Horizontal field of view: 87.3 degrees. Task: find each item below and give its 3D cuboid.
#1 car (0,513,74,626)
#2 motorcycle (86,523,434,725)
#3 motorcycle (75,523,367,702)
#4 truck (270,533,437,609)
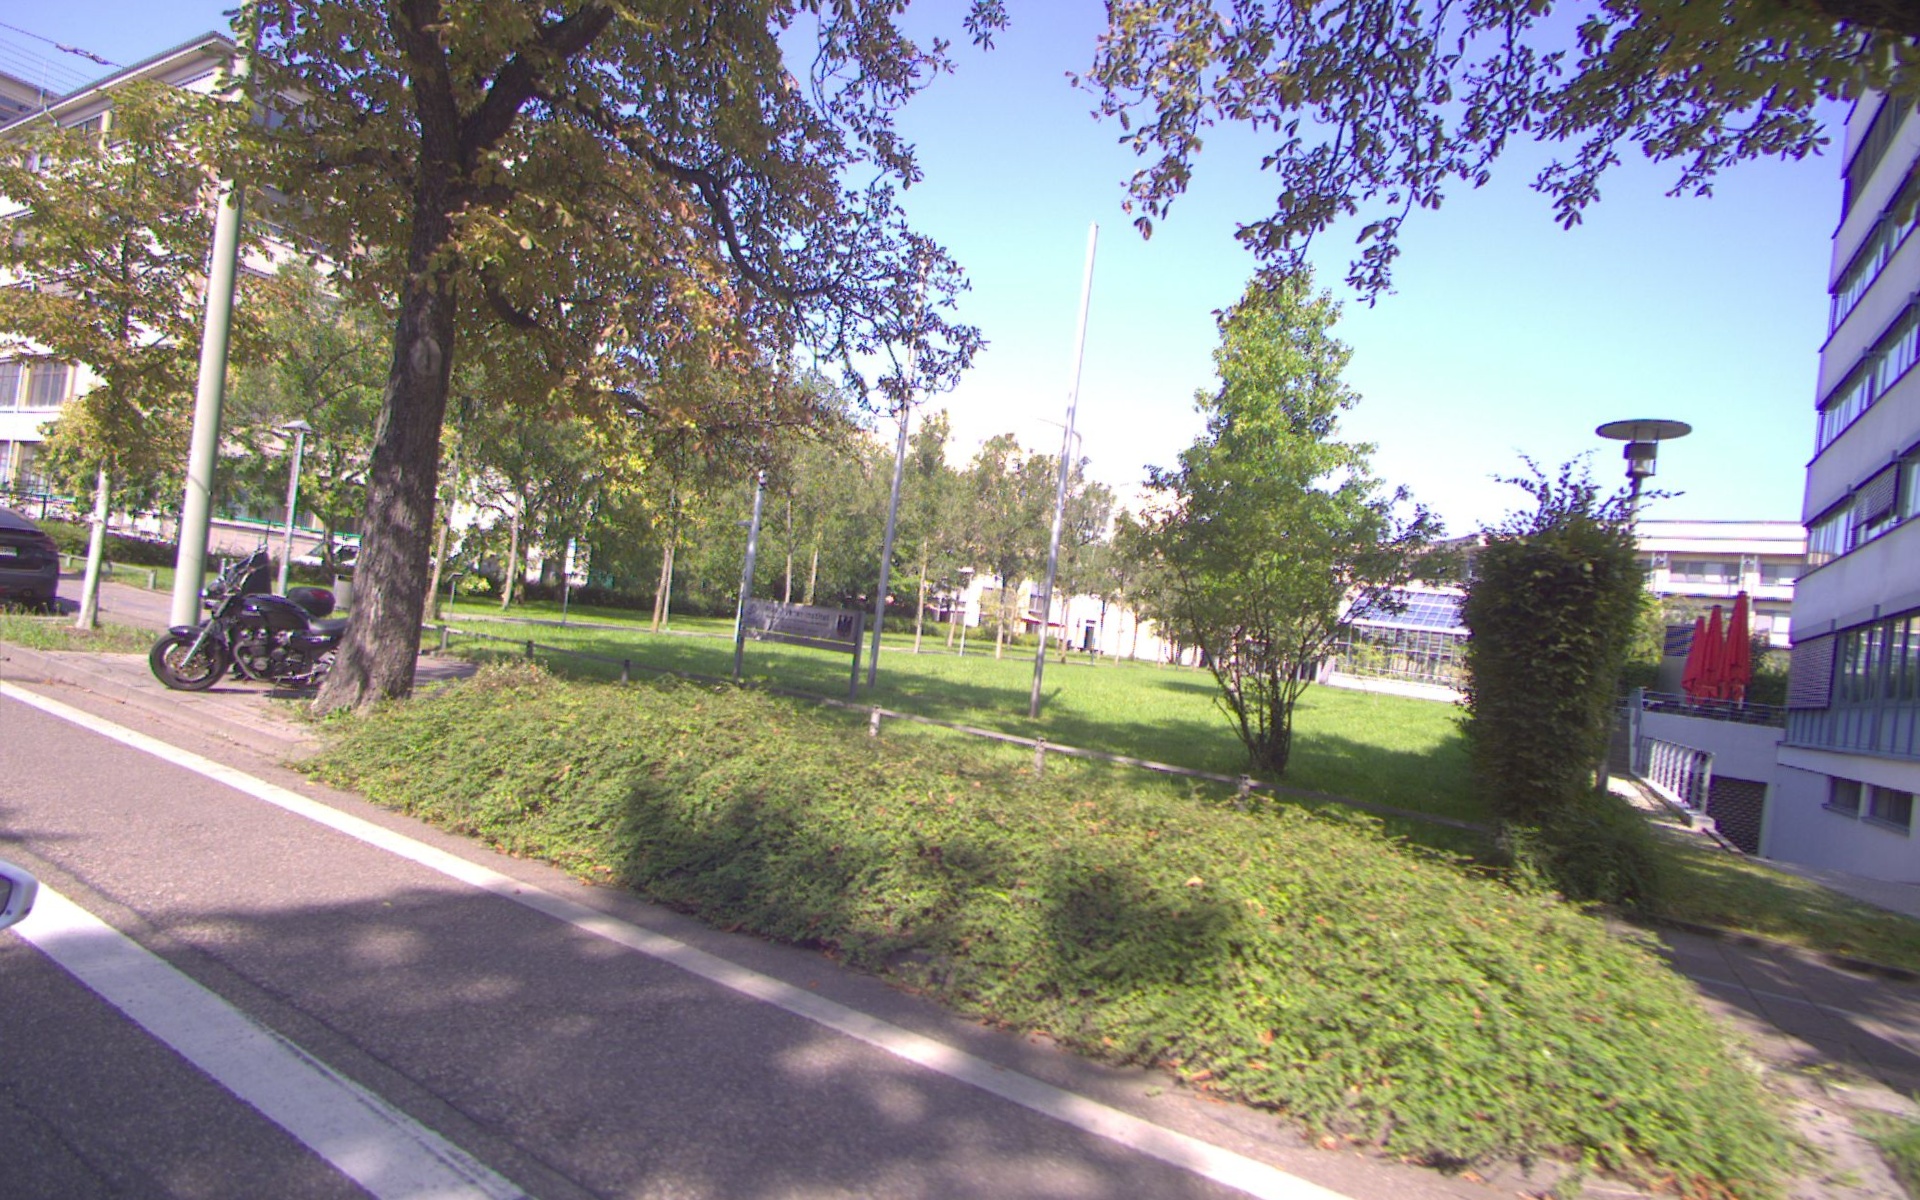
[{"bbox_3d":[-15.398,-0.651,15.075,4.531,1.534,1.759,6,-1,30],"label":"car"},{"bbox_3d":[-6.515,0.260,9.571,2.422,1.533,0.849,8,-2,-21],"label":"motorcycle"},{"bbox_3d":[-7.797,0.137,10.674,2.408,1.533,0.854,7,-1,7],"label":"motorcycle"},{"bbox_3d":[-25.712,-1.172,42.885,2.261,2.352,5.517,6,-3,32],"label":"truck"}]
